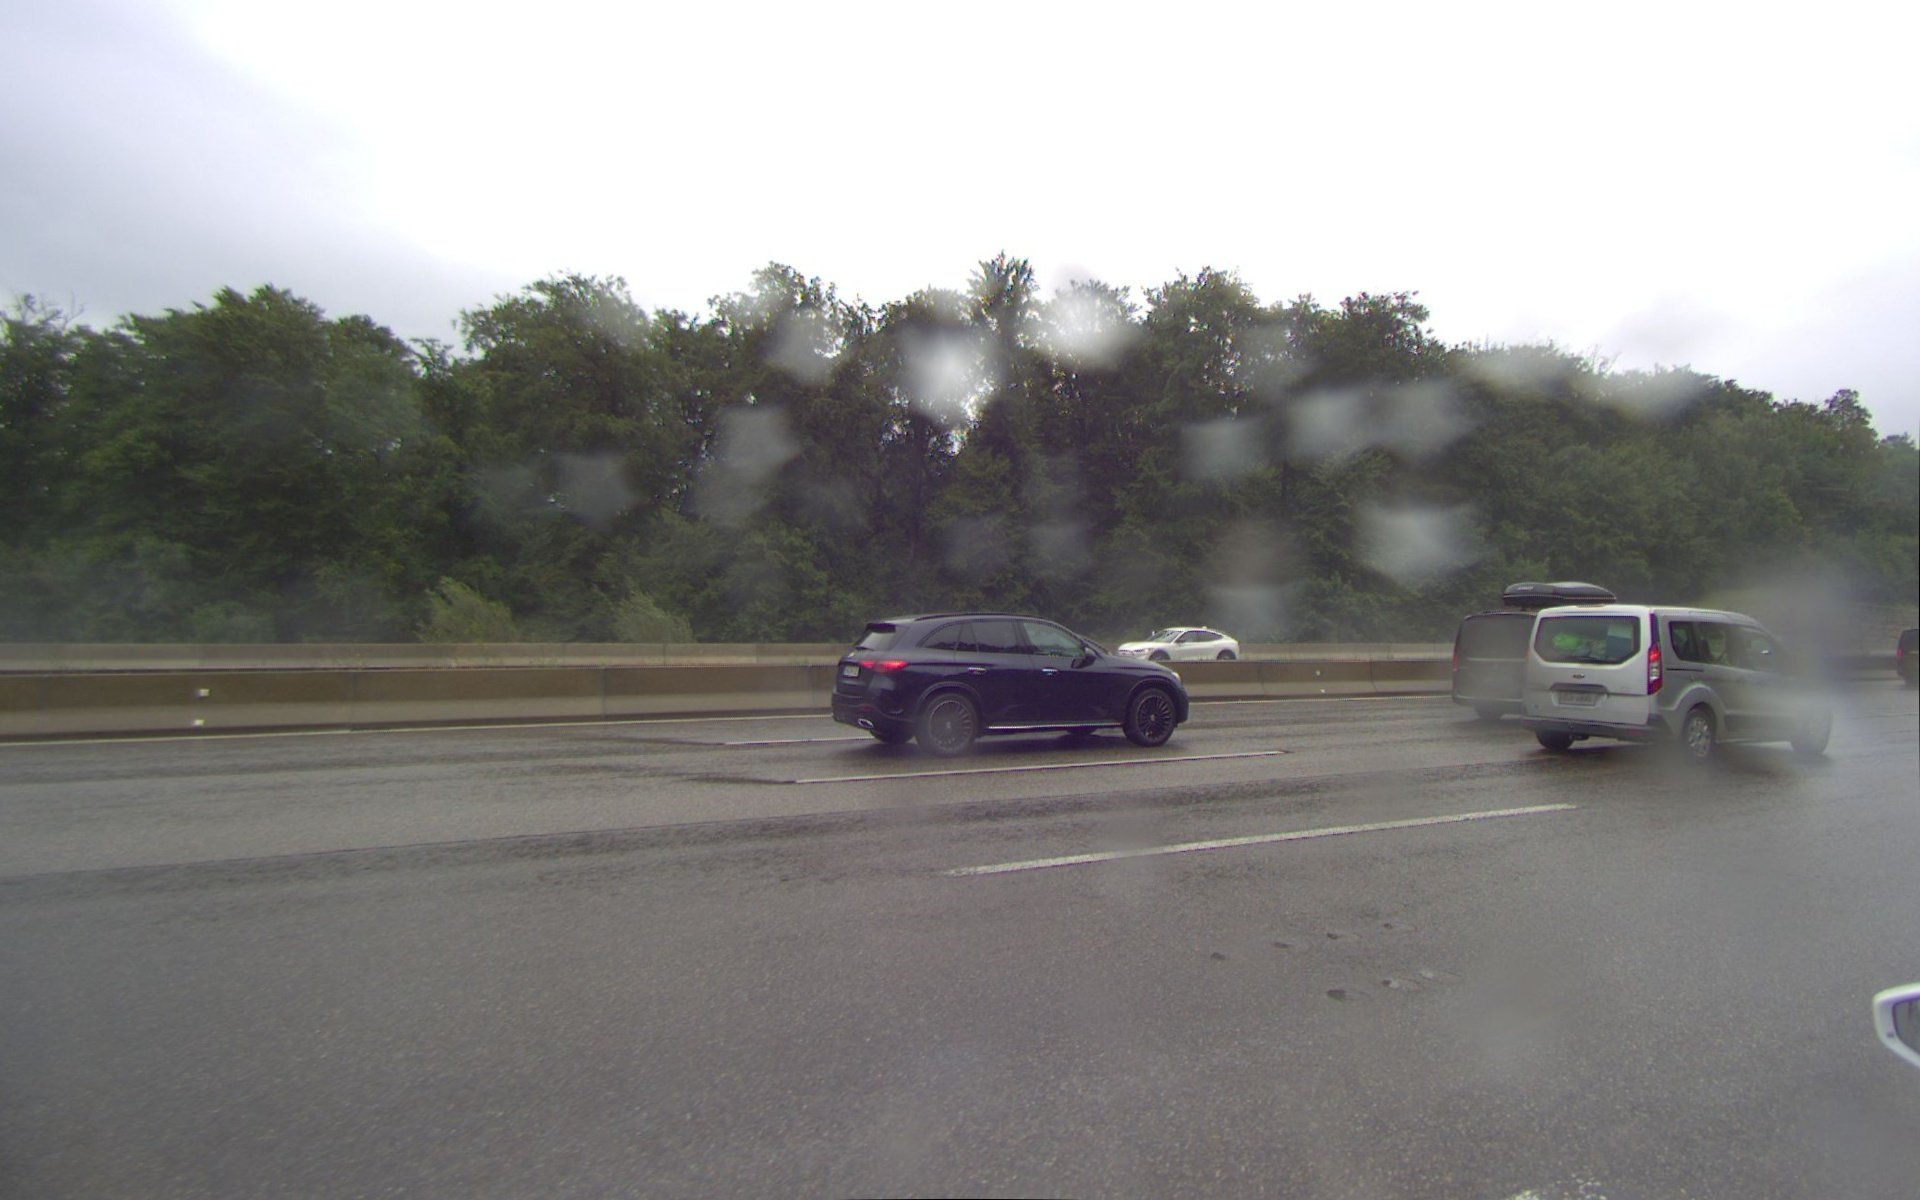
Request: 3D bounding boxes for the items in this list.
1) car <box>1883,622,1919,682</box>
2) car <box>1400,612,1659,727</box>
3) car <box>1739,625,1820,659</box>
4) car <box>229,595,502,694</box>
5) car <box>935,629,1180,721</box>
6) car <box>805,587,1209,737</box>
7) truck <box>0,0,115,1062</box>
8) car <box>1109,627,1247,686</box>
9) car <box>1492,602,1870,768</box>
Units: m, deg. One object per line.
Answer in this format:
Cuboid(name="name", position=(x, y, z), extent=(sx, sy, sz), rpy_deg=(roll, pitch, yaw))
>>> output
Cuboid(name="car", position=(31.864, 1.671, 32.146), extent=(4.526, 1.856, 1.921), rpy_deg=(1, -1, -26))
Cuboid(name="car", position=(10.000, 1.154, 17.647), extent=(4.098, 1.822, 1.988), rpy_deg=(1, -1, -25))
Cuboid(name="car", position=(44.830, 2.291, 54.924), extent=(4.528, 1.794, 1.854), rpy_deg=(1, -1, -28))
Cuboid(name="car", position=(-10.863, 0.803, 18.762), extent=(4.150, 1.679, 1.988), rpy_deg=(1, -1, -25))
Cuboid(name="car", position=(1.701, 1.243, 17.383), extent=(3.948, 1.423, 1.667), rpy_deg=(1, -1, -26))
Cuboid(name="car", position=(0.620, 0.727, 12.711), extent=(4.743, 1.615, 1.988), rpy_deg=(1, -1, -25))
Cuboid(name="truck", position=(-5.175, -0.392, 1.775), extent=(4.990, 3.742, 2.867), rpy_deg=(1, -1, -26))
Cuboid(name="car", position=(7.732, 1.956, 35.591), extent=(4.526, 1.970, 1.987), rpy_deg=(1, -1, -26))
Cuboid(name="car", position=(9.010, 0.978, 12.533), extent=(4.504, 1.774, 1.841), rpy_deg=(1, -2, -25))
